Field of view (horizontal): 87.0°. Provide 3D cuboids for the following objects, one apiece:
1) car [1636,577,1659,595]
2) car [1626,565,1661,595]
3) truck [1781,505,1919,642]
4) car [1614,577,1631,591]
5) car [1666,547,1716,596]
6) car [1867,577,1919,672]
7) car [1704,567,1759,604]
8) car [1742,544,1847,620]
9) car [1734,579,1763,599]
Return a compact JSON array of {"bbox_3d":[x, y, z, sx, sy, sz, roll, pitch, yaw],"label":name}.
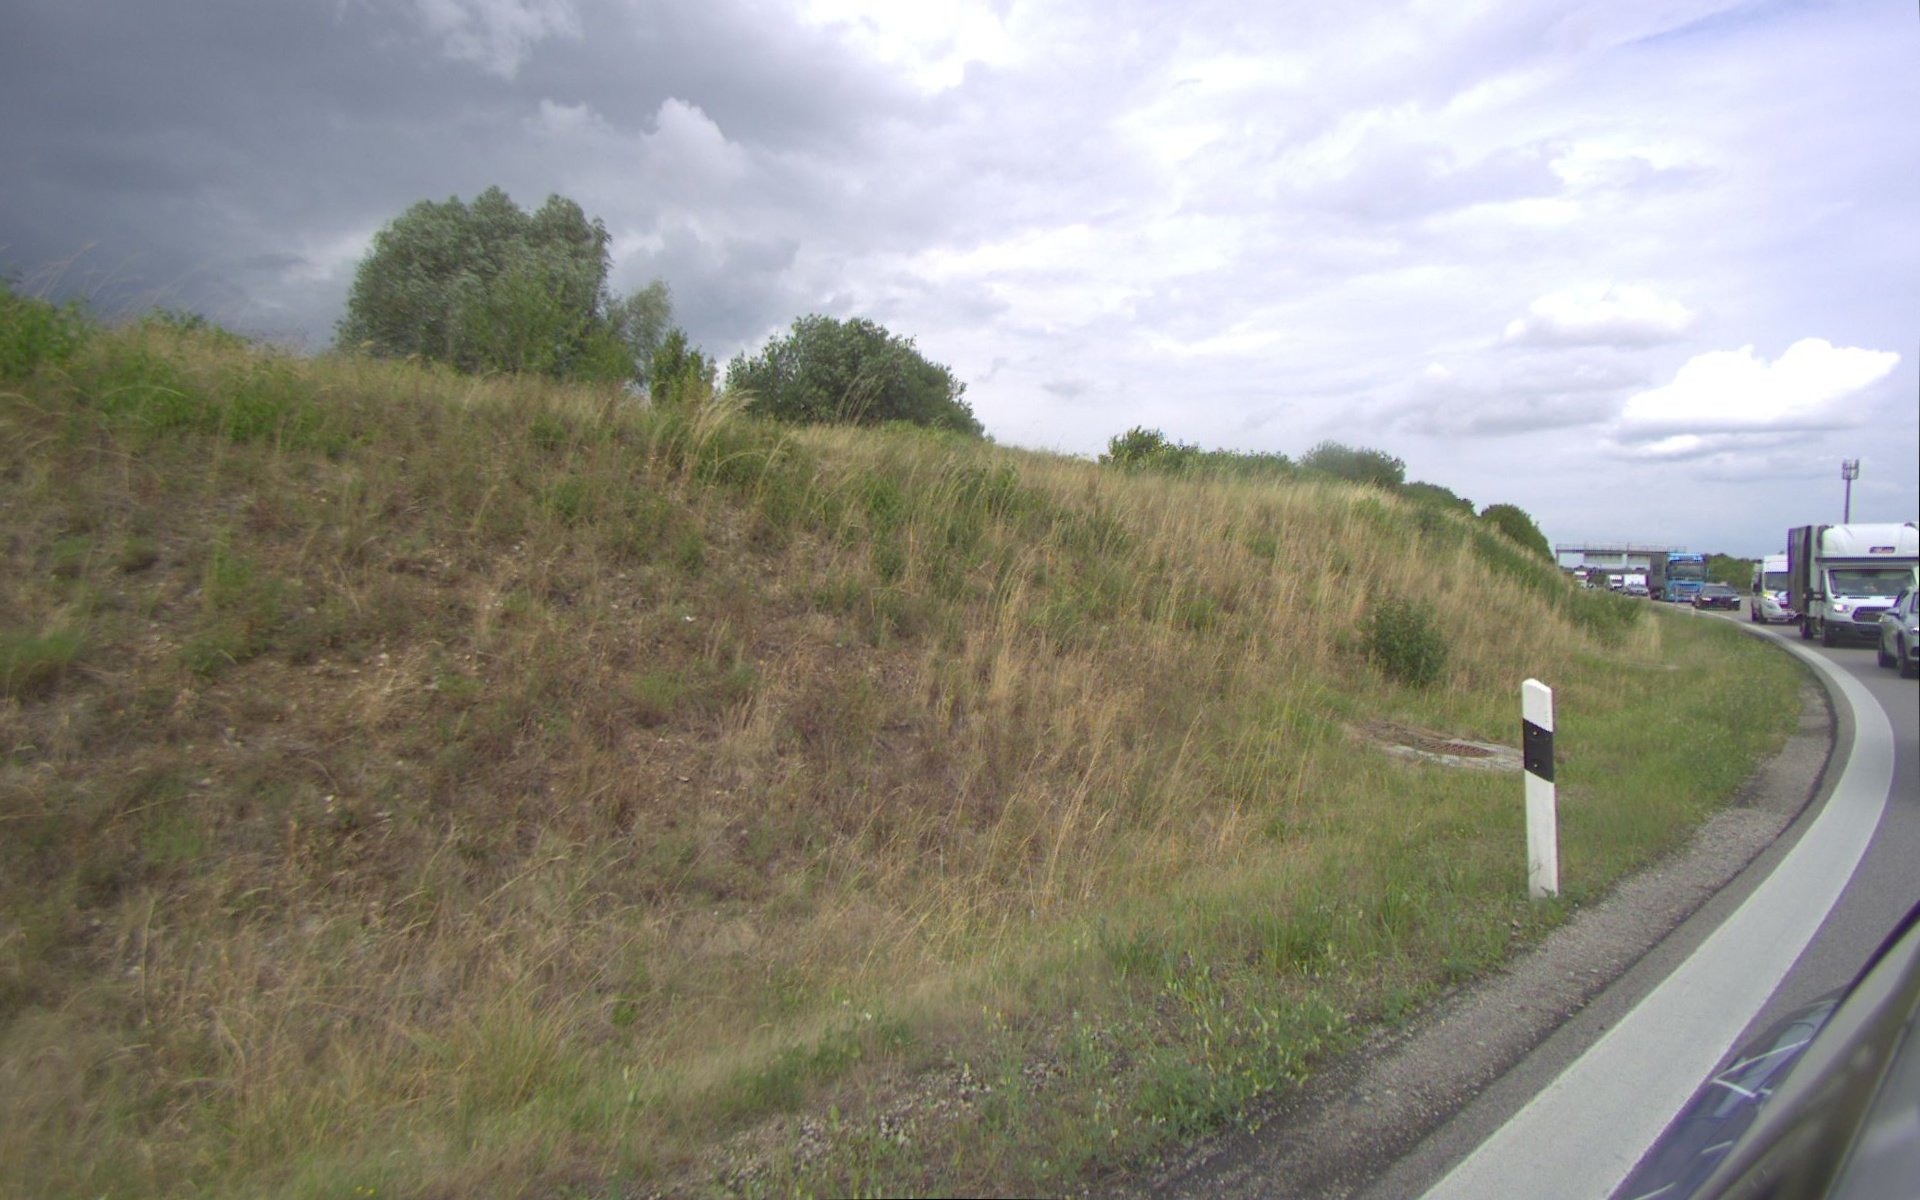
[{"bbox_3d":[78.433,-1.603,115.526,1.916,2.057,3.957,1,2,31],"label":"car"},{"bbox_3d":[82.092,-2.429,121.659,2.923,3.509,6.502,1,2,30],"label":"car"},{"bbox_3d":[24.473,-0.706,27.390,2.430,3.275,7.113,1,2,31],"label":"truck"},{"bbox_3d":[103.948,-2.557,158.720,1.983,2.039,3.958,-1,1,30],"label":"car"},{"bbox_3d":[59.349,-2.333,82.308,2.485,3.757,7.621,1,2,30],"label":"car"},{"bbox_3d":[17.904,0.406,17.968,1.985,1.595,3.955,1,2,32],"label":"car"},{"bbox_3d":[44.410,-0.850,58.342,1.984,2.038,3.957,1,2,31],"label":"car"},{"bbox_3d":[32.861,-0.743,40.057,2.005,2.779,6.856,1,2,30],"label":"car"},{"bbox_3d":[83.211,-1.197,106.850,1.985,2.038,3.955,1,2,32],"label":"car"}]
